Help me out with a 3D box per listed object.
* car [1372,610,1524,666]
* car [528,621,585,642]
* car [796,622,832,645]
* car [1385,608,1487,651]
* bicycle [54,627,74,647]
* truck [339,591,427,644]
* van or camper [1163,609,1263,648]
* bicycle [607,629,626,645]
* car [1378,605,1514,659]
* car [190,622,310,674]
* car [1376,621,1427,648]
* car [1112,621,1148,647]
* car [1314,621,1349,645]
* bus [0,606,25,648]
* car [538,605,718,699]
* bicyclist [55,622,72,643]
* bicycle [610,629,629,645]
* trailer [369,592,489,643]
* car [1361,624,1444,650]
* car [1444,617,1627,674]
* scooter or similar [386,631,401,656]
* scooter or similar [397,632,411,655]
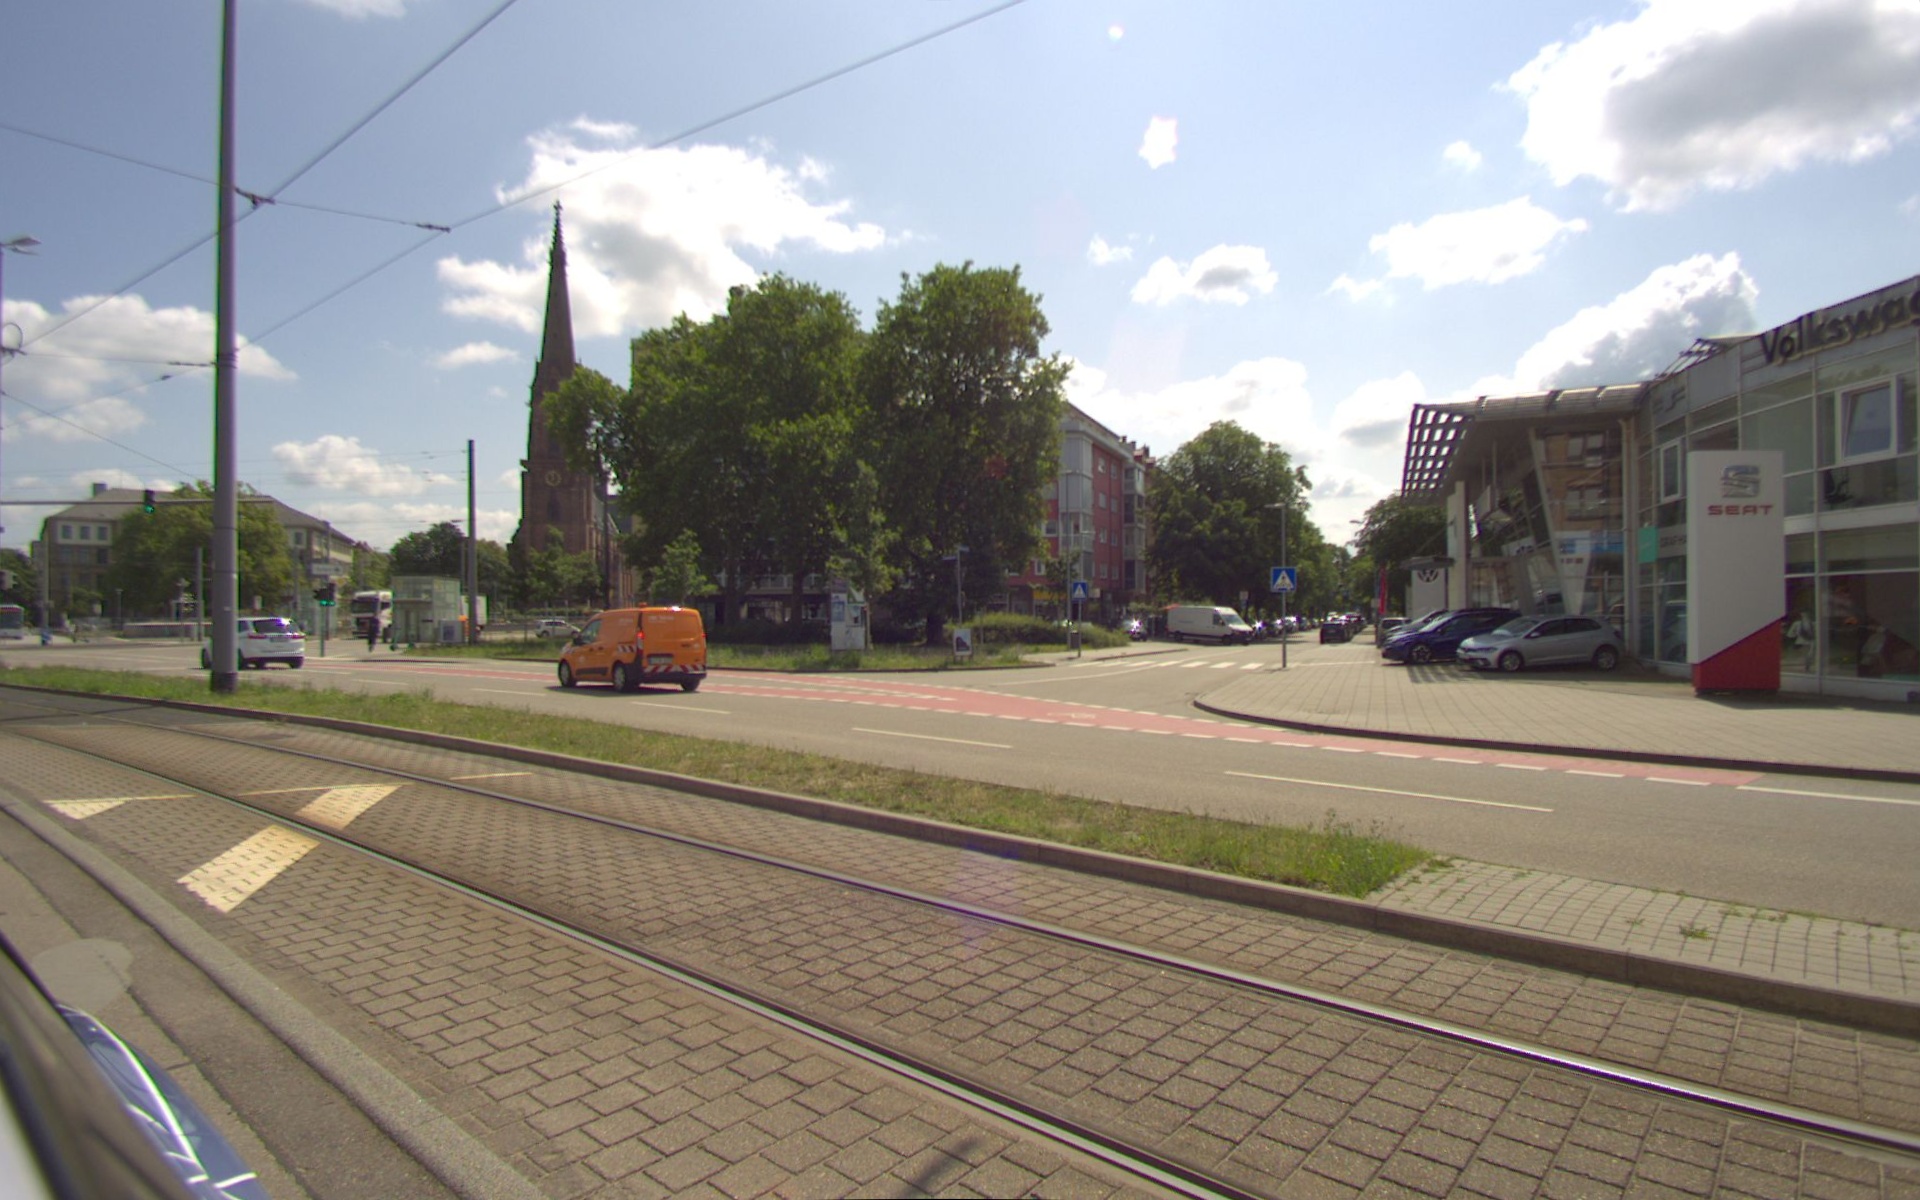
[{"bbox_3d":[14.653,1.140,30.601,3.748,1.485,1.654,-3,-1,12],"label":"car"},{"bbox_3d":[-33.536,2.590,84.194,4.105,1.655,1.633,0,-2,-37],"label":"car"},{"bbox_3d":[-10.395,2.369,72.219,1.854,1.522,3.929,-1,-1,2],"label":"car"},{"bbox_3d":[20.552,1.272,43.872,3.837,1.788,1.689,-1,-1,21],"label":"car"},{"bbox_3d":[-90.481,3.739,102.146,3.485,2.029,1.230,-2,-1,44],"label":"bicycle"},{"bbox_3d":[-46.825,1.437,82.352,2.925,4.150,6.870,-1,-1,4],"label":"truck"},{"bbox_3d":[17.163,1.932,69.110,2.536,2.518,6.701,0,-1,-32],"label":"van or camper"},{"bbox_3d":[-26.325,2.846,77.598,1.256,1.154,0.459,-1,-2,0],"label":"bicycle"},{"bbox_3d":[15.977,1.050,33.387,3.584,1.685,1.779,-1,-1,-5],"label":"car"},{"bbox_3d":[-23.341,1.541,33.223,4.482,1.616,1.751,-1,-2,35],"label":"car"},{"bbox_3d":[28.910,2.230,66.260,1.999,1.630,3.945,-1,-1,41],"label":"car"},{"bbox_3d":[11.877,2.363,70.889,1.973,1.719,3.997,-1,-1,2],"label":"car"},{"bbox_3d":[26.961,2.395,73.332,1.989,1.697,3.965,-1,-1,26],"label":"car"},{"bbox_3d":[-82.721,2.326,87.235,2.908,3.474,7.953,0,-2,-44],"label":"bus"},{"bbox_3d":[-7.421,1.121,22.431,4.366,1.880,1.890,-2,-3,42],"label":"car"},{"bbox_3d":[-90.457,3.287,102.101,1.320,2.029,1.109,-1,-3,44],"label":"bicyclist"},{"bbox_3d":[-26.308,2.863,78.176,1.256,1.154,0.459,-1,-2,0],"label":"bicycle"},{"bbox_3d":[-46.411,1.592,89.205,2.910,4.107,13.404,-1,-1,3],"label":"trailer"},{"bbox_3d":[22.526,1.900,51.612,3.601,1.255,1.552,-1,-1,12],"label":"car"},{"bbox_3d":[15.544,1.201,27.480,3.890,1.458,1.835,-1,-1,-1],"label":"car"},{"bbox_3d":[-27.980,2.158,50.012,0.548,1.209,0.457,-2,-2,34],"label":"scooter or similar"},{"bbox_3d":[-27.782,2.191,50.608,0.555,1.133,0.412,-2,-2,34],"label":"scooter or similar"}]
